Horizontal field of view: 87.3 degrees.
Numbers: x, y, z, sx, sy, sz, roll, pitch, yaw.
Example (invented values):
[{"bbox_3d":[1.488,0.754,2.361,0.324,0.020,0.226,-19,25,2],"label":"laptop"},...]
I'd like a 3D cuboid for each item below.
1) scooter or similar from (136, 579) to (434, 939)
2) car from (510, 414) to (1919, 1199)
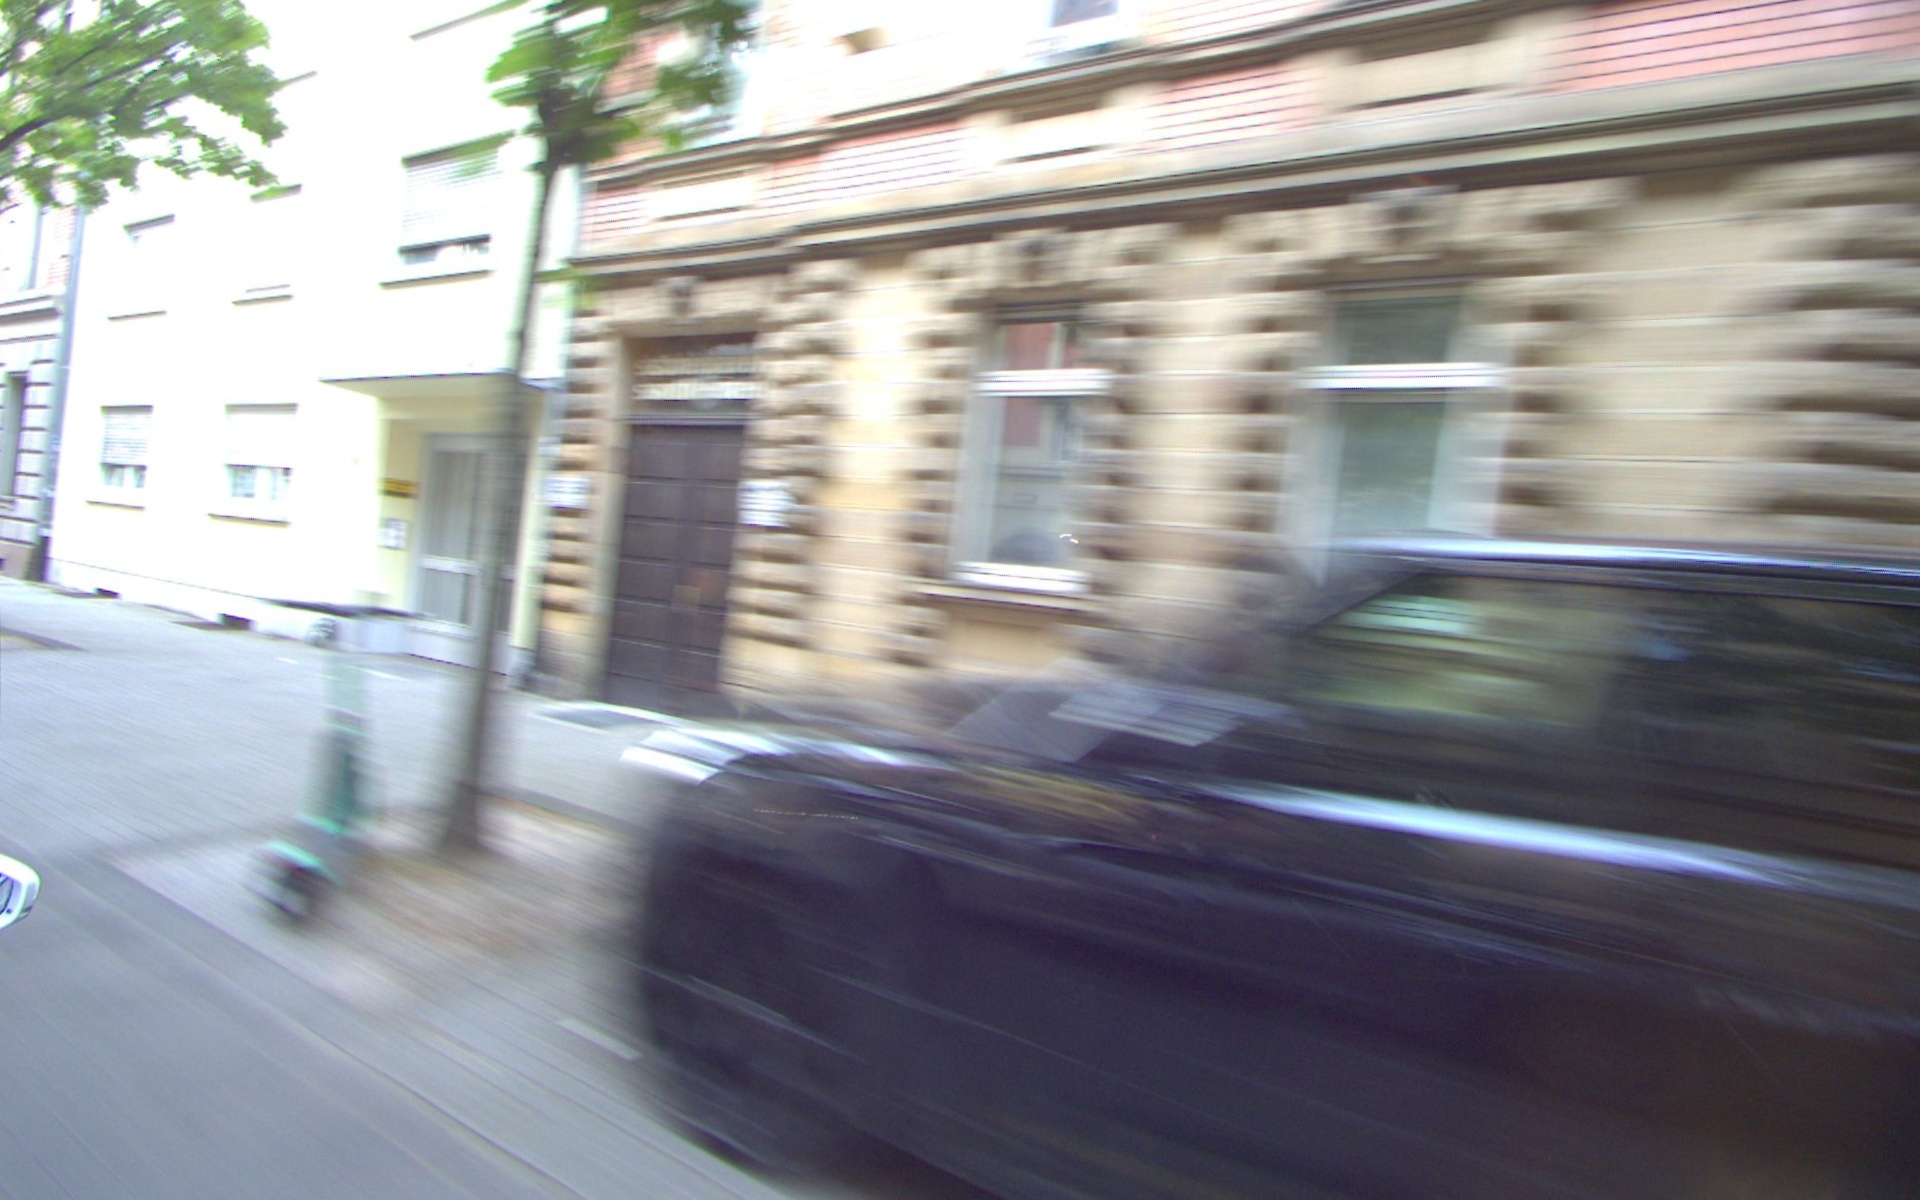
[{"bbox_3d":[-2.616,0.555,4.034,0.665,1.206,1.111,4,2,-19],"label":"scooter or similar"},{"bbox_3d":[1.330,0.676,2.466,4.730,1.857,2.014,7,2,31],"label":"car"}]
